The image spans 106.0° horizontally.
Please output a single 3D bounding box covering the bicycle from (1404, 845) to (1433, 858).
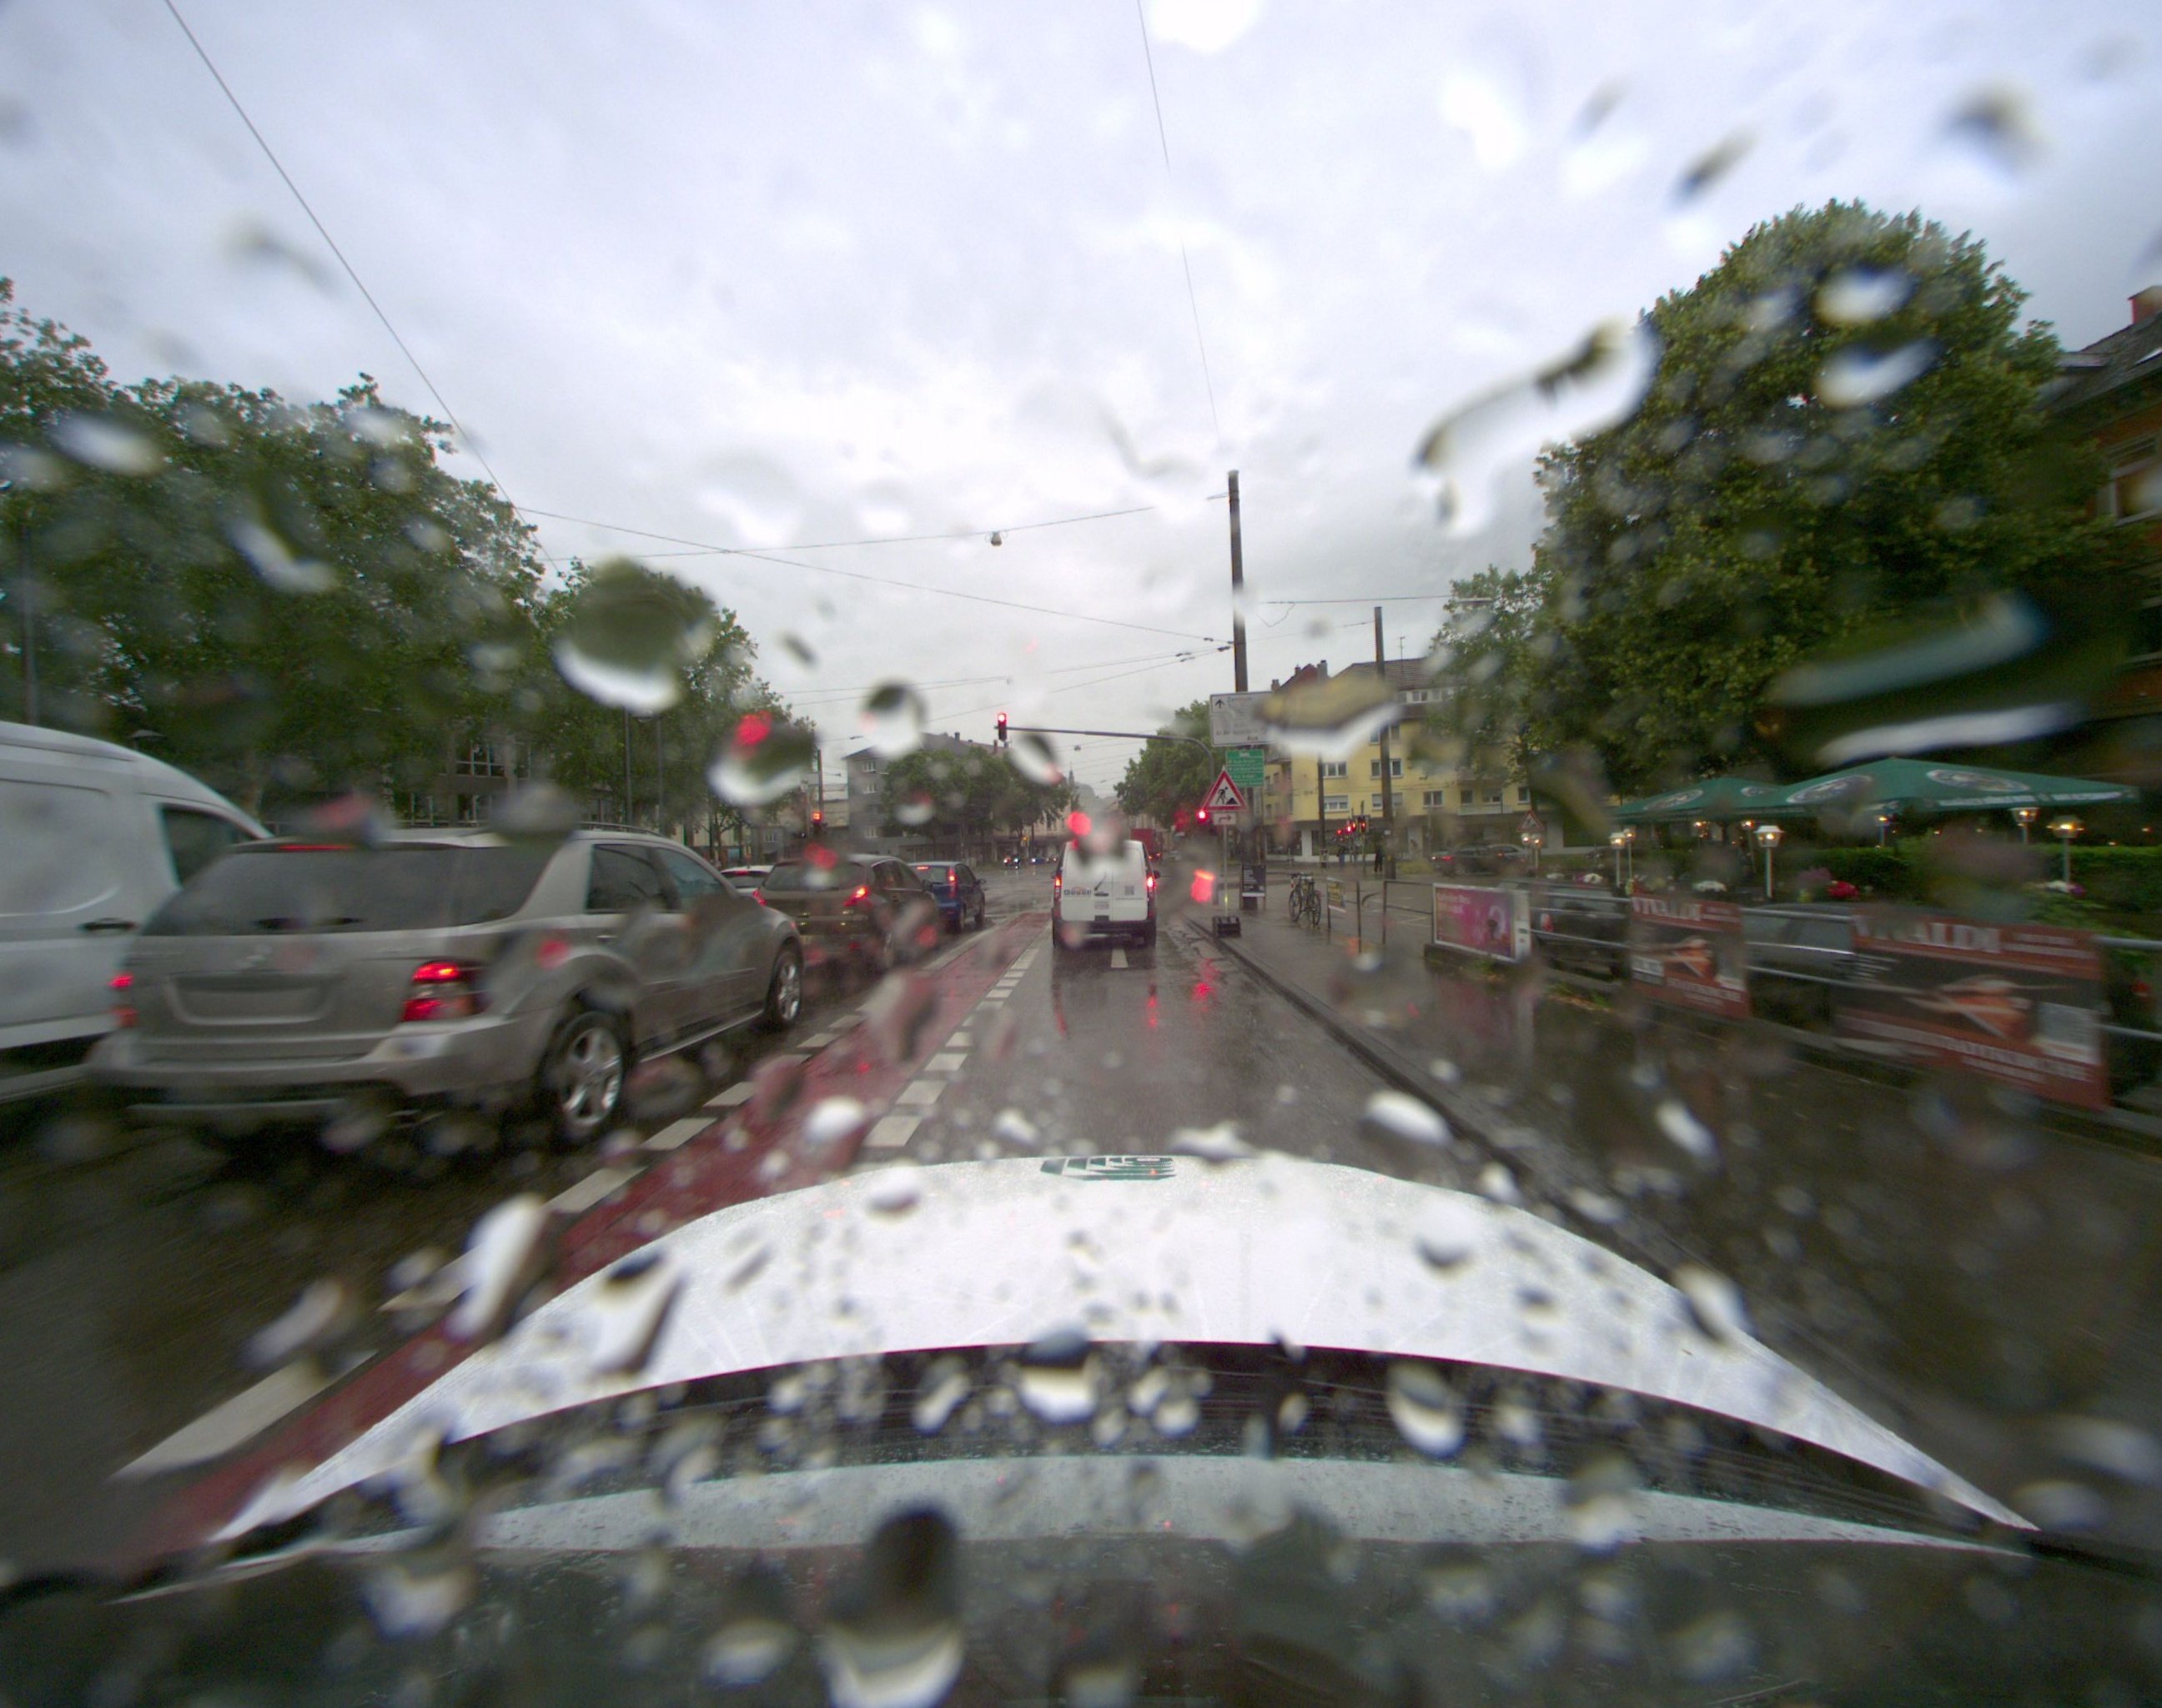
[{"bbox_3d":[26.201,-0.179,63.208,2.003,1.027,0.662,-1,0,14],"label":"bicycle"}]

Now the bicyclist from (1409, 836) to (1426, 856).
[{"bbox_3d":[26.107,-0.644,63.221,1.058,1.547,0.940,-1,0,13],"label":"bicyclist"}]

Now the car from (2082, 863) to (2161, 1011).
[{"bbox_3d":[14.388,0.994,9.971,1.974,1.713,4.025,-1,0,41],"label":"car"}]

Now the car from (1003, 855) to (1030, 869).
[{"bbox_3d":[-7.918,0.957,100.349,1.935,1.607,4.020,-1,1,19],"label":"car"}]

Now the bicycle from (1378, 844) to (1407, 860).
[{"bbox_3d":[25.018,-0.170,65.399,2.085,1.261,0.534,-1,1,16],"label":"bicycle"}]

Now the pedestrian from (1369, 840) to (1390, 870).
[{"bbox_3d":[16.787,0.044,45.797,0.895,1.669,1.026,-1,0,31],"label":"pedestrian"}]

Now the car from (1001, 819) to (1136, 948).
[{"bbox_3d":[-0.110,0.486,15.357,2.092,2.012,4.965,-1,-1,2],"label":"car"}]

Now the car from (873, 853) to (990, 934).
[{"bbox_3d":[-3.136,0.774,17.839,1.720,1.578,3.822,-1,0,2],"label":"car"}]

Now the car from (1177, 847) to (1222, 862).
[{"bbox_3d":[11.553,0.027,79.549,4.160,1.339,1.518,-1,1,-6],"label":"car"}]

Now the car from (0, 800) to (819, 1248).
[{"bbox_3d":[-3.604,0.711,5.595,2.017,1.770,4.463,-2,0,1],"label":"car"}]

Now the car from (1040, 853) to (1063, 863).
[{"bbox_3d":[-4.152,0.552,114.432,1.935,1.239,4.020,-1,1,19],"label":"car"}]

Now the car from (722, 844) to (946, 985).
[{"bbox_3d":[-3.318,0.735,11.870,1.827,1.668,4.174,-1,0,2],"label":"car"}]

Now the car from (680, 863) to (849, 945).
[{"bbox_3d":[-6.495,0.961,17.226,1.836,1.484,4.003,-1,0,3],"label":"car"}]

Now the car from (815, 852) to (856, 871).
[{"bbox_3d":[-29.914,0.904,99.349,1.975,2.198,4.816,0,2,26],"label":"car"}]

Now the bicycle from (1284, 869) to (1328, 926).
[{"bbox_3d":[4.862,0.914,17.713,0.512,1.107,2.019,2,0,4],"label":"bicycle"}]

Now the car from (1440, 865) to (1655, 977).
[{"bbox_3d":[7.527,0.990,13.555,1.698,1.442,3.529,2,1,4],"label":"car"}]

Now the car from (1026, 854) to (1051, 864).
[{"bbox_3d":[-5.548,0.628,106.518,1.935,1.239,4.020,-1,1,19],"label":"car"}]

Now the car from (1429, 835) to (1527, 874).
[{"bbox_3d":[19.603,0.030,40.331,3.962,1.866,2.006,-1,0,10],"label":"car"}]

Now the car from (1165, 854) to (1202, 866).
[{"bbox_3d":[10.214,0.596,81.421,3.437,1.130,1.468,-1,0,-6],"label":"car"}]

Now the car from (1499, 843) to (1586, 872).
[{"bbox_3d":[25.425,0.193,45.025,3.906,1.490,1.815,-1,1,18],"label":"car"}]

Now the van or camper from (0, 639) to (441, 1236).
[{"bbox_3d":[-6.778,0.462,4.227,2.151,3.141,5.851,-2,0,0],"label":"van or camper"}]

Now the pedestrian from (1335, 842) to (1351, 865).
[{"bbox_3d":[17.163,-0.034,53.358,0.820,1.534,0.616,0,-1,-36],"label":"pedestrian"}]

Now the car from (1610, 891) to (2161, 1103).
[{"bbox_3d":[7.323,1.162,8.067,1.696,1.400,3.975,-1,0,2],"label":"car"}]

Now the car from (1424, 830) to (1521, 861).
[{"bbox_3d":[23.433,-0.482,48.957,4.902,1.643,2.007,-1,-3,14],"label":"car"}]

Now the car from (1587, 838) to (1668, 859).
[{"bbox_3d":[29.833,-0.292,44.540,3.511,1.082,1.248,-1,0,5],"label":"car"}]

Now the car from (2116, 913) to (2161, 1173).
[{"bbox_3d":[7.330,1.136,3.064,1.726,1.539,4.075,0,0,0],"label":"car"}]

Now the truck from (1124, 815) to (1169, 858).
[{"bbox_3d":[8.530,-2.037,103.456,3.445,5.087,15.362,-1,0,13],"label":"truck"}]
